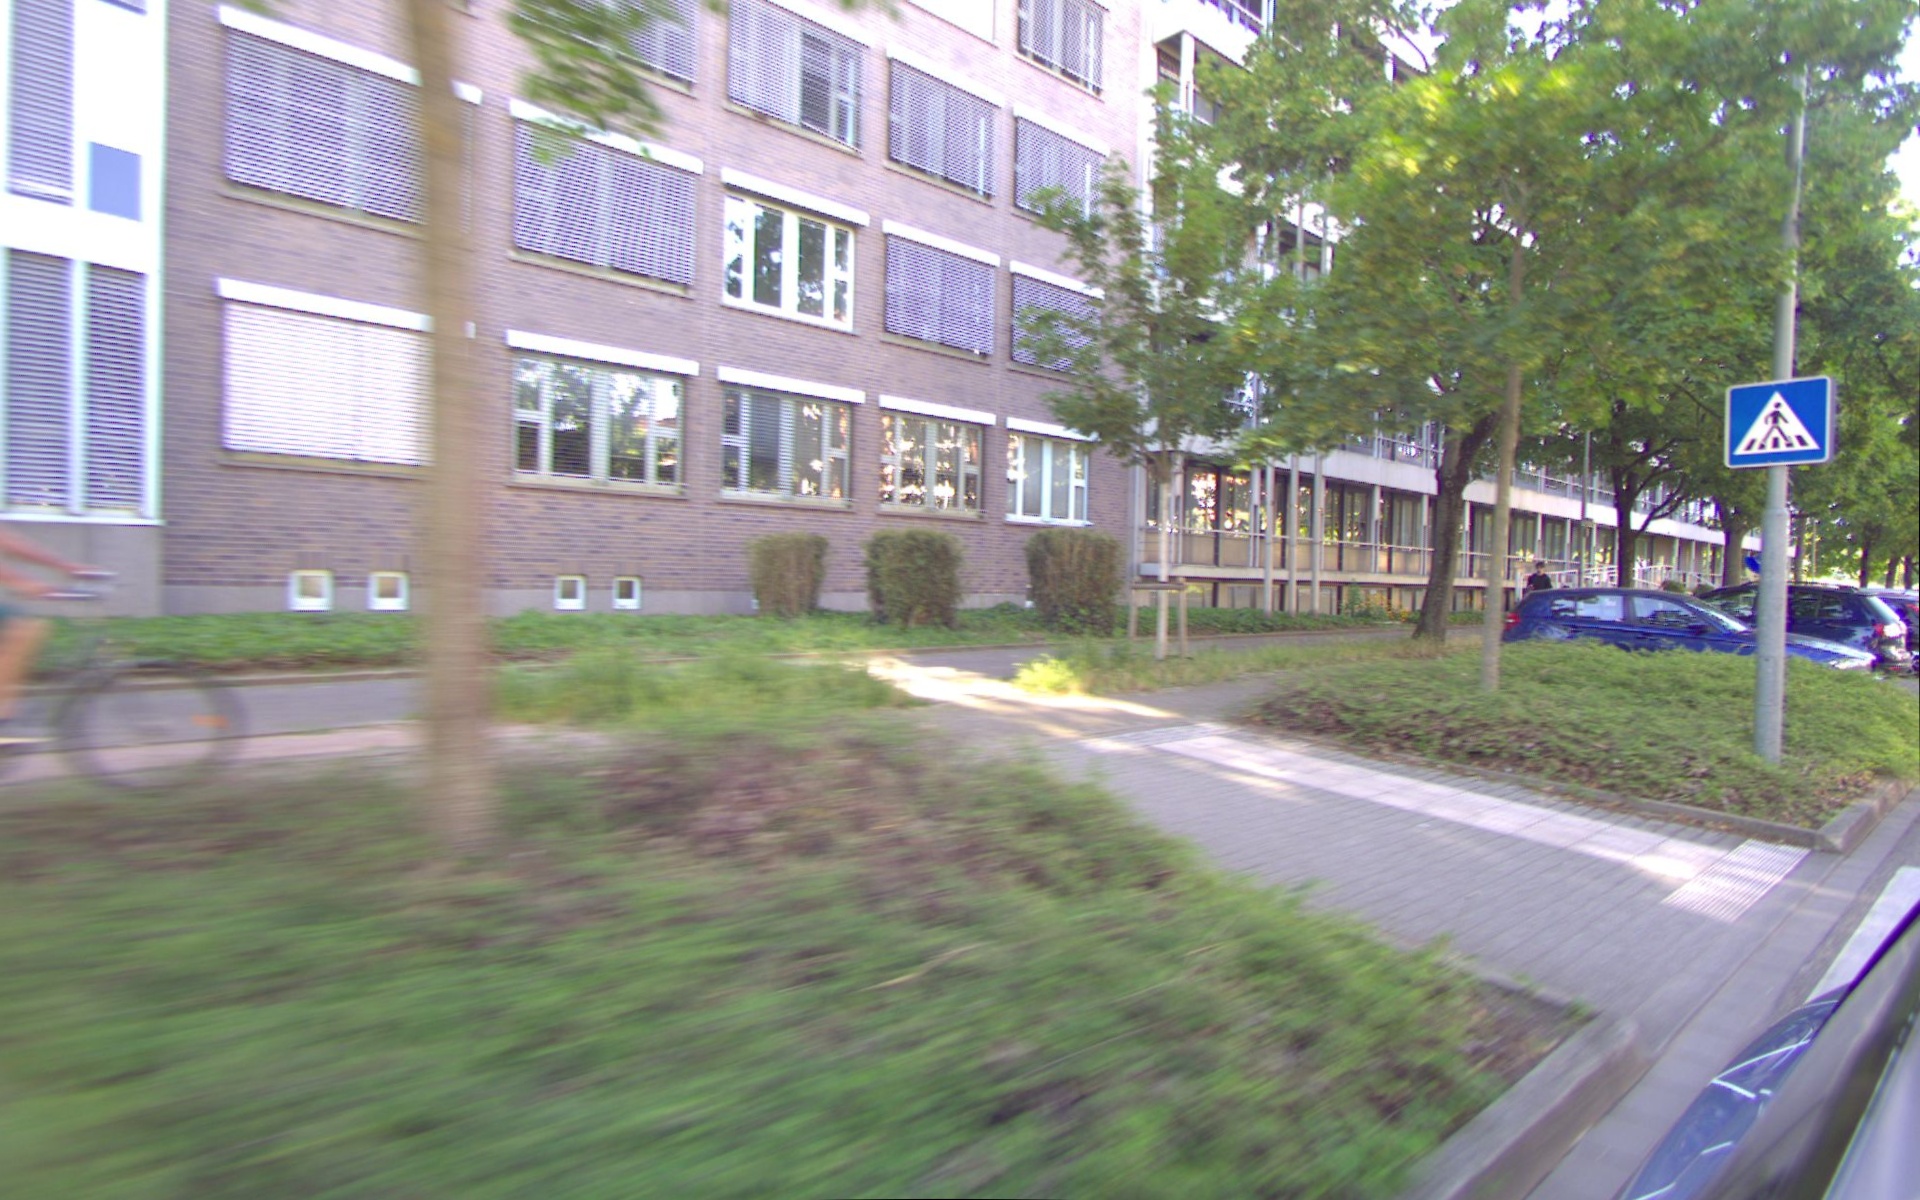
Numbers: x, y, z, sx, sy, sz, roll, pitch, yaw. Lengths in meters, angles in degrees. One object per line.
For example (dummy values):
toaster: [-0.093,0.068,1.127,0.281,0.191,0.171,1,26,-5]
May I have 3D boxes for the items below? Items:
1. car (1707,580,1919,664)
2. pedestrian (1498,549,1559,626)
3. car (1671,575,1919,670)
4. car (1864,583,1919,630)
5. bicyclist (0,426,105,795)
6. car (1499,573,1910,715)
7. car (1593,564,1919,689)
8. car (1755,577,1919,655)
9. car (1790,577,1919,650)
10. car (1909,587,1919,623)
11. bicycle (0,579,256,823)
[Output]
car: [18.093,0.405,20.849,1.807,1.536,4.127,0,2,-45]
pedestrian: [13.779,-0.307,24.517,1.001,1.821,1.036,0,0,-42]
car: [16.313,0.379,19.383,1.633,1.478,4.129,0,4,-45]
car: [33.593,0.299,34.392,1.682,1.512,4.000,0,4,-37]
bicyclist: [-4.522,0.038,4.713,0.808,1.657,0.538,0,1,-41]
car: [9.637,0.449,13.360,1.627,1.387,4.120,0,4,-44]
car: [12.921,0.305,16.458,1.633,1.609,4.129,-2,5,-45]
car: [20.912,0.336,23.130,1.683,1.604,3.997,0,3,-39]
car: [23.245,0.329,24.946,1.877,1.687,4.127,0,2,-45]
car: [39.880,0.309,39.578,1.561,1.398,3.911,-2,5,-44]
bicycle: [-4.487,0.451,4.758,1.886,1.091,0.535,0,2,-41]
